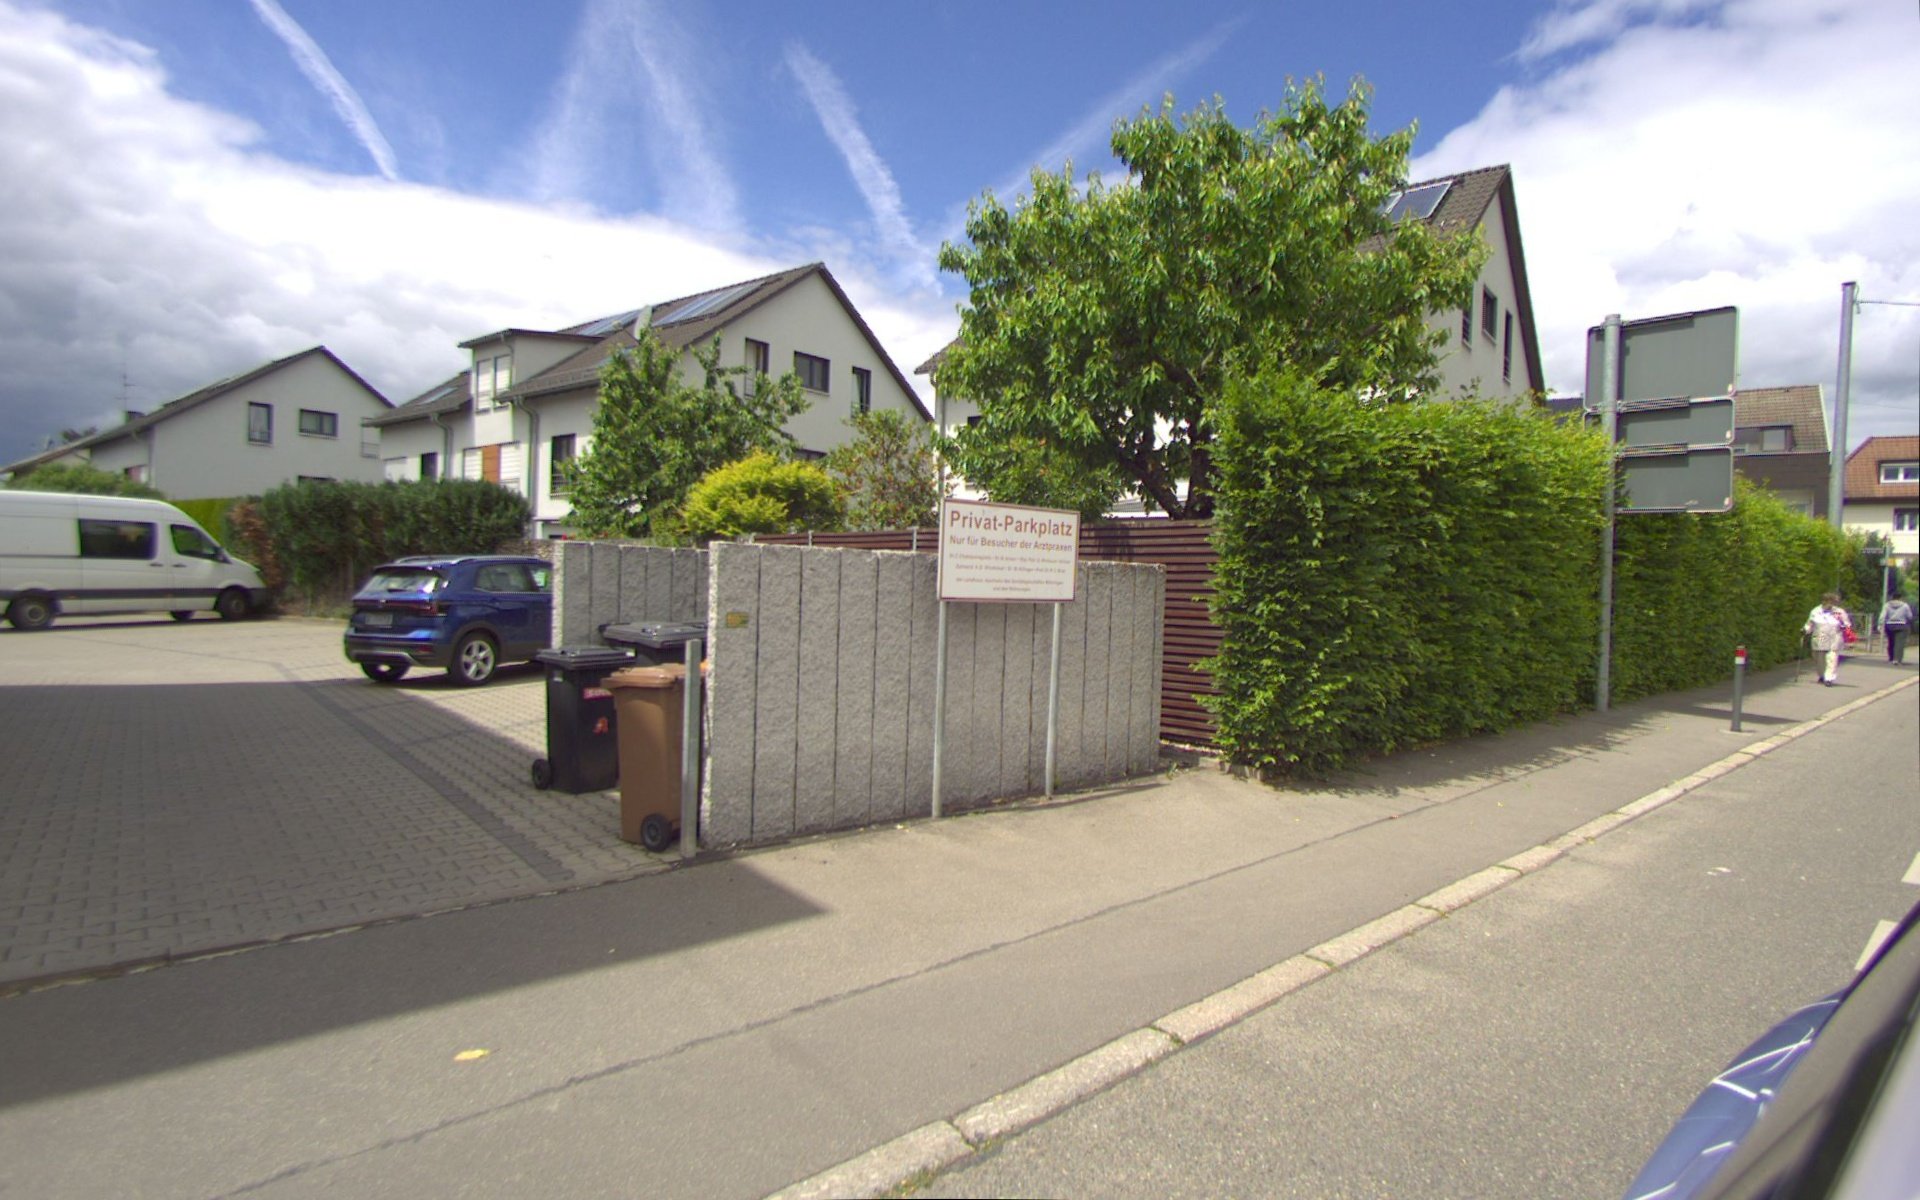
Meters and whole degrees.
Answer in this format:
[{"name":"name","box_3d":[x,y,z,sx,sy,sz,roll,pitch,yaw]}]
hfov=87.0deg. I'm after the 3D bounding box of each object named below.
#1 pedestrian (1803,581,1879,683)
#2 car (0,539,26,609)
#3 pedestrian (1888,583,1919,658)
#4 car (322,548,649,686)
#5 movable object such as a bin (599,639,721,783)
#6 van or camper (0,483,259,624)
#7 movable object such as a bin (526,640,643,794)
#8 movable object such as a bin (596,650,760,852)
[{"name":"pedestrian","box_3d":[14.858,0.520,17.070,0.641,1.637,0.801,0,2,-39]},{"name":"car","box_3d":[-26.138,-0.665,25.207,1.813,1.794,3.951,0,0,34]},{"name":"pedestrian","box_3d":[21.186,0.452,22.519,0.821,1.625,0.604,0,3,-40]},{"name":"car","box_3d":[-6.145,0.152,13.580,1.768,1.555,3.768,2,1,23]},{"name":"movable object such as a bin","box_3d":[-2.095,0.747,7.081,0.629,0.904,0.534,1,0,33]},{"name":"van or camper","box_3d":[-17.714,-0.902,20.598,2.034,2.574,5.475,1,1,21]},{"name":"movable object such as a bin","box_3d":[-2.469,0.743,6.664,0.490,0.924,0.534,1,0,32]},{"name":"movable object such as a bin","box_3d":[-1.531,0.781,5.526,0.530,0.963,0.679,1,1,35]}]
